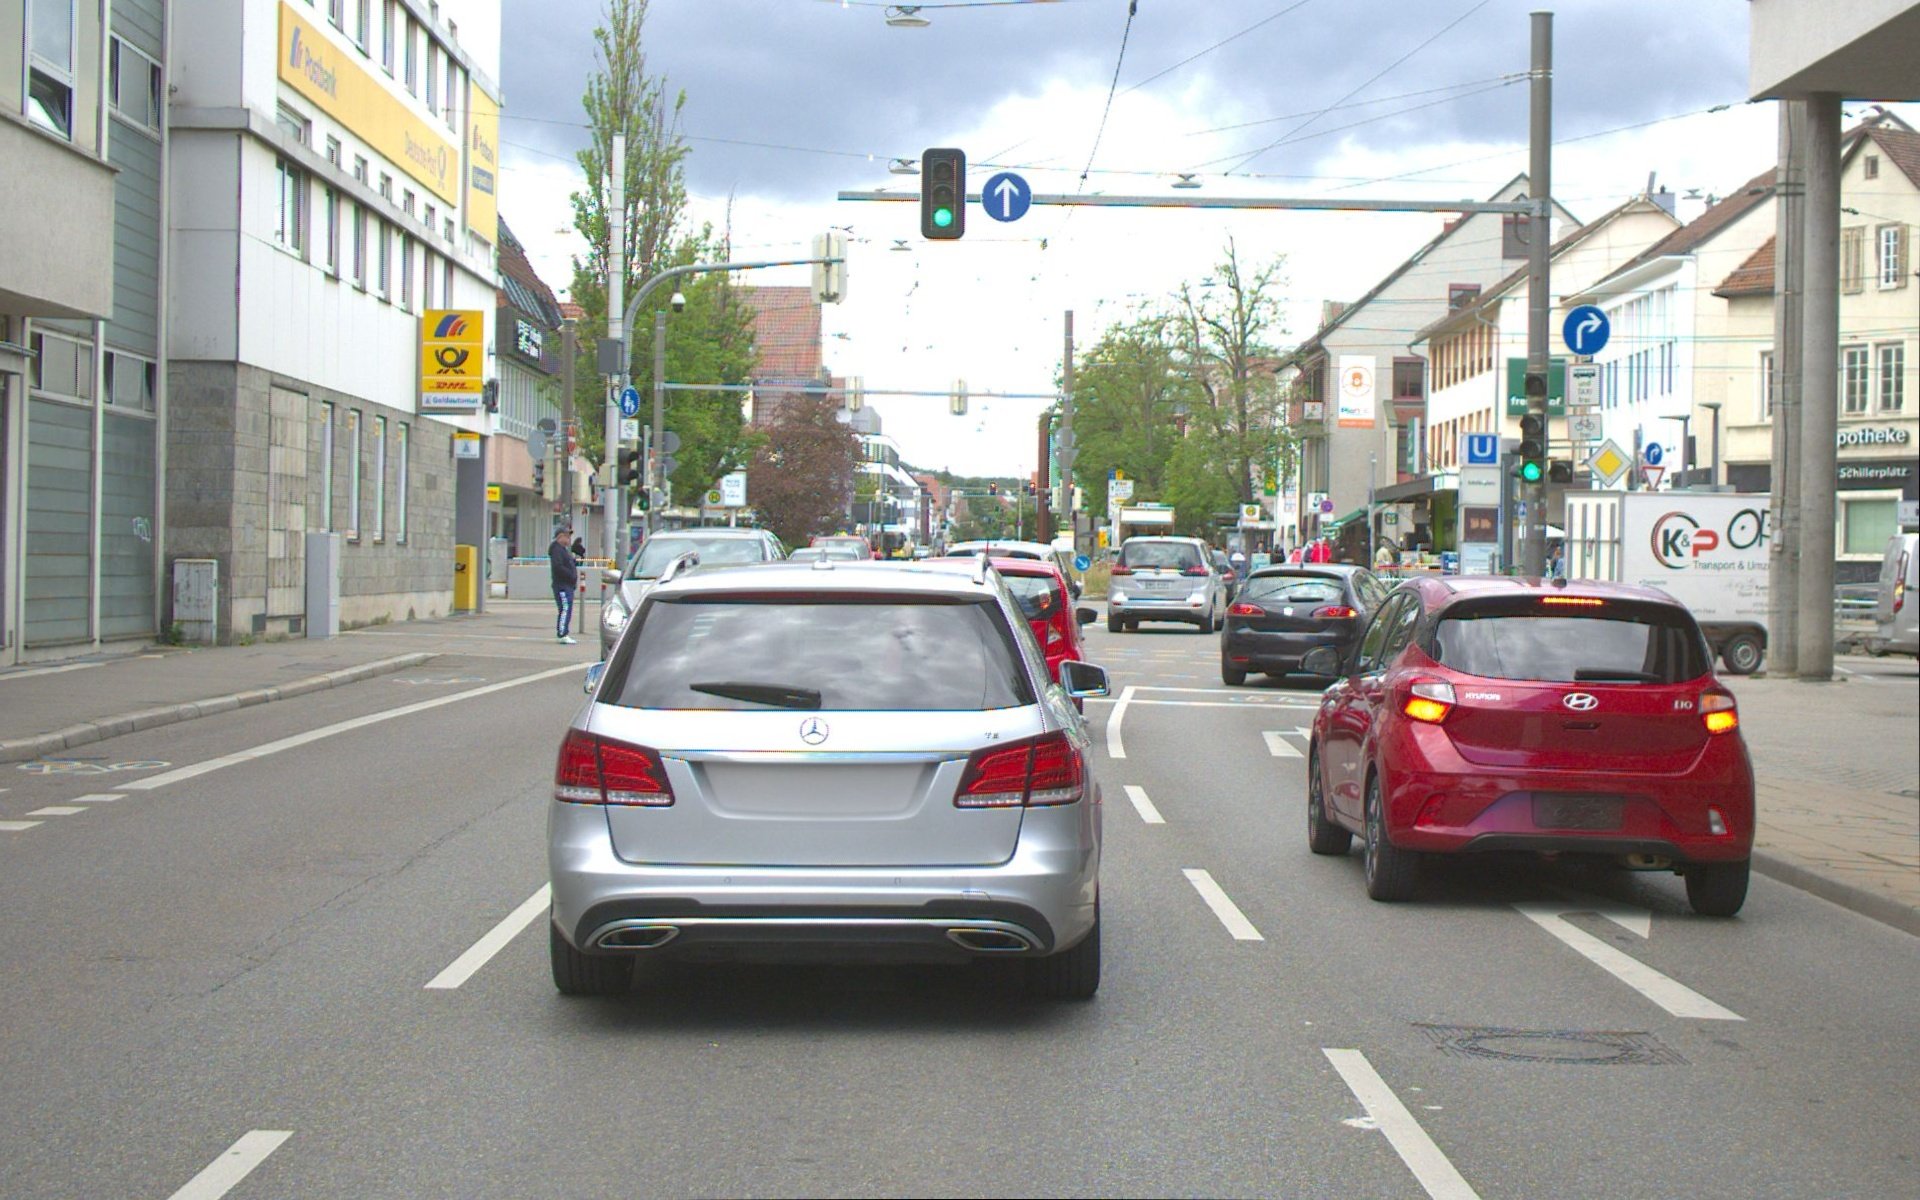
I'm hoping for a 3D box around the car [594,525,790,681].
[{"bbox_3d":[-2.936,-0.013,38.533,1.776,1.626,4.768,0,1,1],"label":"car"}]

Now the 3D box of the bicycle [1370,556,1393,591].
[{"bbox_3d":[13.041,-0.828,106.441,0.448,1.087,2.149,1,1,1],"label":"bicycle"}]

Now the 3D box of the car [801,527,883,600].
[{"bbox_3d":[-2.808,-0.894,82.366,1.799,1.689,3.897,0,1,1],"label":"car"}]

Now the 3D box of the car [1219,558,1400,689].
[{"bbox_3d":[4.186,0.235,40.756,1.735,1.406,3.998,1,1,11],"label":"car"}]

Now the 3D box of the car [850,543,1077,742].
[{"bbox_3d":[0.018,0.301,28.765,1.734,1.503,4.000,1,1,0],"label":"car"}]

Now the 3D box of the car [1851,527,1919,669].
[{"bbox_3d":[15.227,0.080,48.354,4.891,1.939,1.883,3,1,7],"label":"car"}]

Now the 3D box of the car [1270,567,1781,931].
[{"bbox_3d":[2.618,0.624,16.808,1.698,1.447,4.000,3,1,-1],"label":"car"}]

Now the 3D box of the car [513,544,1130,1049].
[{"bbox_3d":[-0.488,0.563,12.464,1.845,1.503,4.171,1,1,-2],"label":"car"}]

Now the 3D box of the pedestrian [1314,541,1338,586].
[{"bbox_3d":[12.131,-1.224,113.926,0.577,1.464,0.651,2,1,-9],"label":"pedestrian"}]

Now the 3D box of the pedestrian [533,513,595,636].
[{"bbox_3d":[-5.630,-0.363,48.893,0.648,1.712,0.782,2,1,7],"label":"pedestrian"}]

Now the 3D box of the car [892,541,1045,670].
[{"bbox_3d":[0.067,0.032,42.634,1.734,1.503,4.001,1,1,-2],"label":"car"}]

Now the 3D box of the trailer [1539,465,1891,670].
[{"bbox_3d":[10.519,-0.457,47.946,4.307,2.604,1.885,3,1,-20],"label":"trailer"}]

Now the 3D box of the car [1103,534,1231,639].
[{"bbox_3d":[3.654,-0.270,60.138,1.735,1.753,3.998,1,1,10],"label":"car"}]

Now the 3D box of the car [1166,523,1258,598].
[{"bbox_3d":[6.117,-0.976,83.797,1.828,1.779,4.000,1,1,-2],"label":"car"}]

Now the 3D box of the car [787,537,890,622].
[{"bbox_3d":[-2.152,-0.394,61.700,1.657,1.461,3.920,0,1,1],"label":"car"}]
